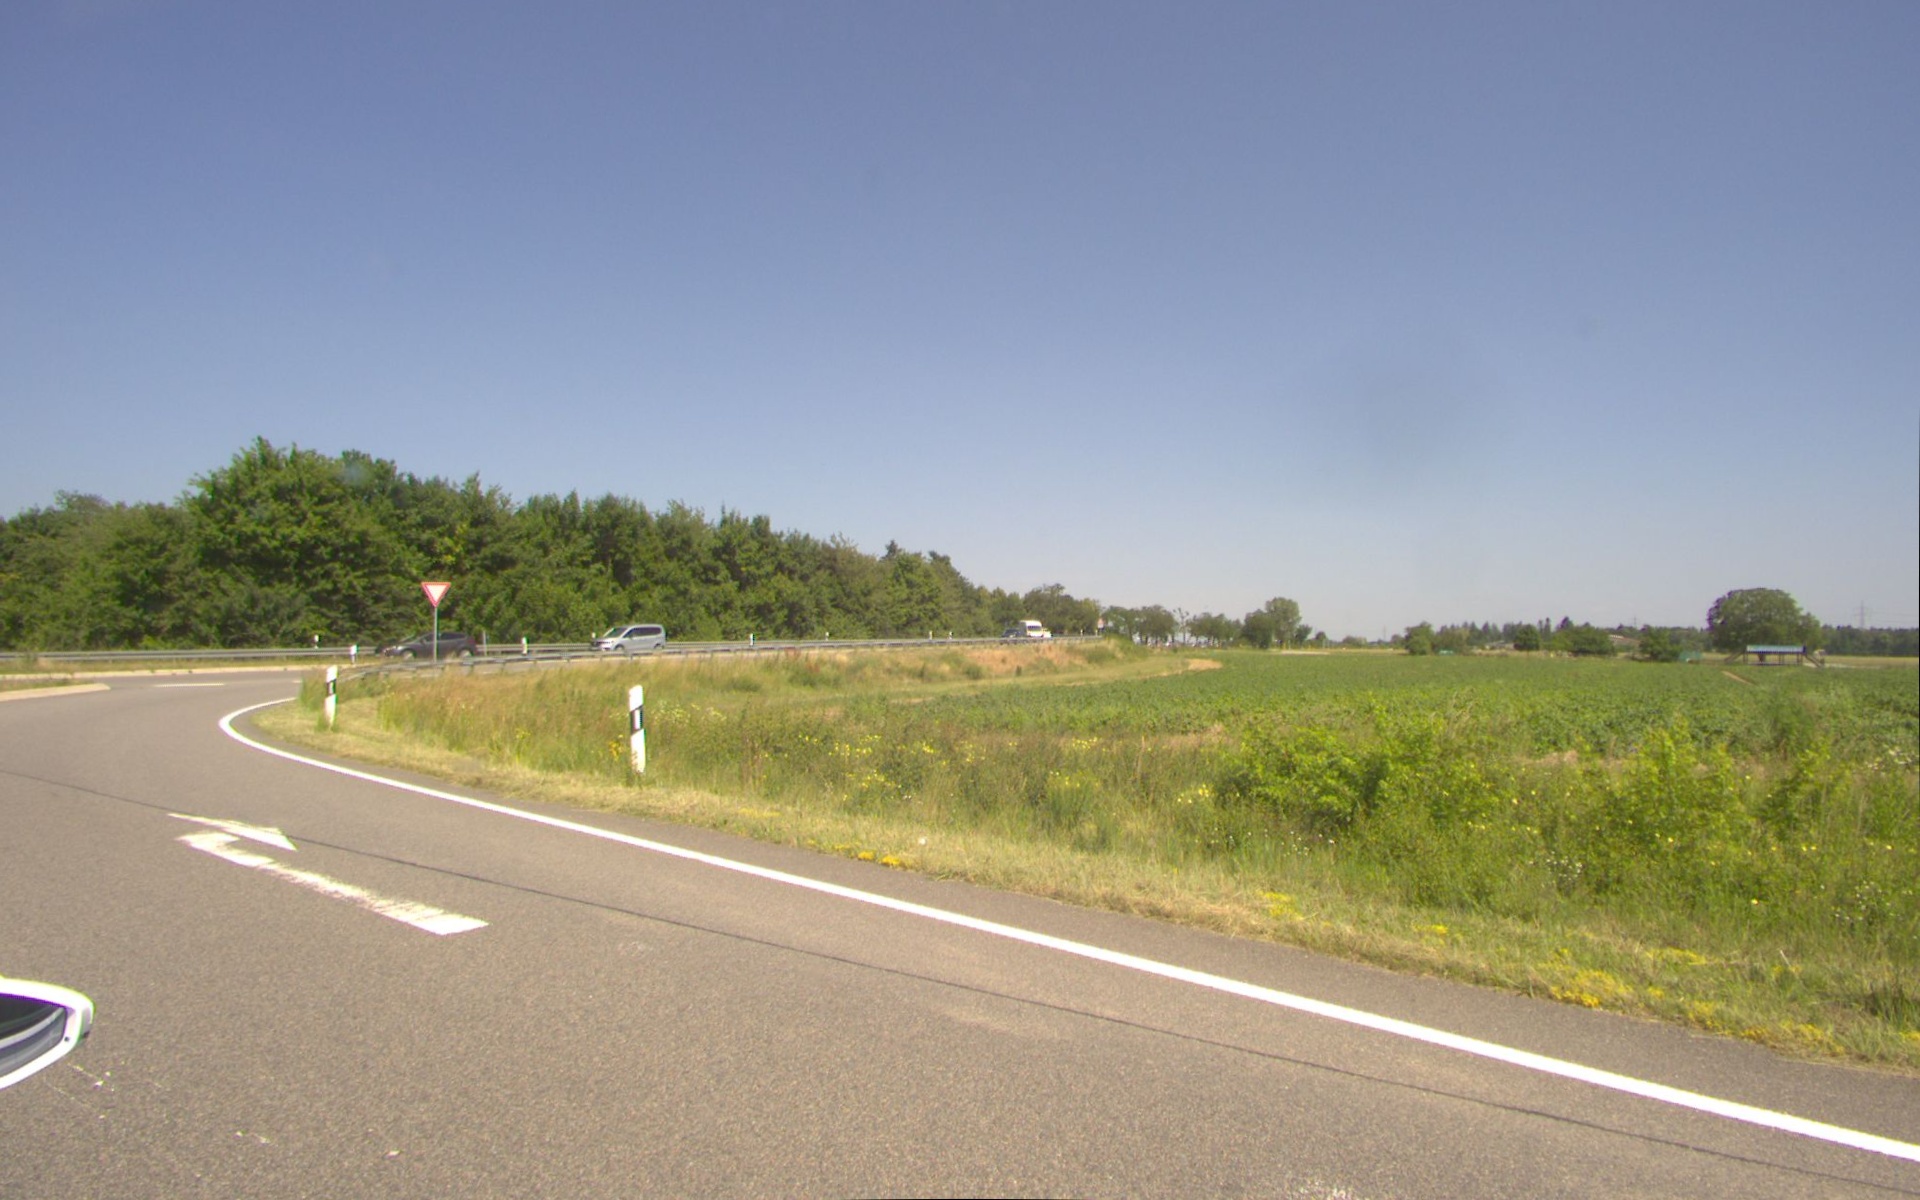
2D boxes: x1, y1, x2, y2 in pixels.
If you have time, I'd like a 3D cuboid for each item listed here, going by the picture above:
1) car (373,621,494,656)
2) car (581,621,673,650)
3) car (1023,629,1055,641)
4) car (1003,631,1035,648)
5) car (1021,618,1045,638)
[{"bbox_3d":[-24.090,1.763,45.973,1.828,1.533,4.671,-1,-2,34],"label":"car"},{"bbox_3d":[-18.306,1.954,55.244,1.828,1.533,4.671,-1,-2,34],"label":"car"},{"bbox_3d":[10.442,4.618,132.495,1.717,1.587,4.452,-1,0,-35],"label":"car"},{"bbox_3d":[5.917,3.878,99.360,1.710,1.587,4.470,-1,0,24],"label":"car"},{"bbox_3d":[8.655,3.371,119.247,2.008,2.303,5.580,0,-2,-5],"label":"car"}]
